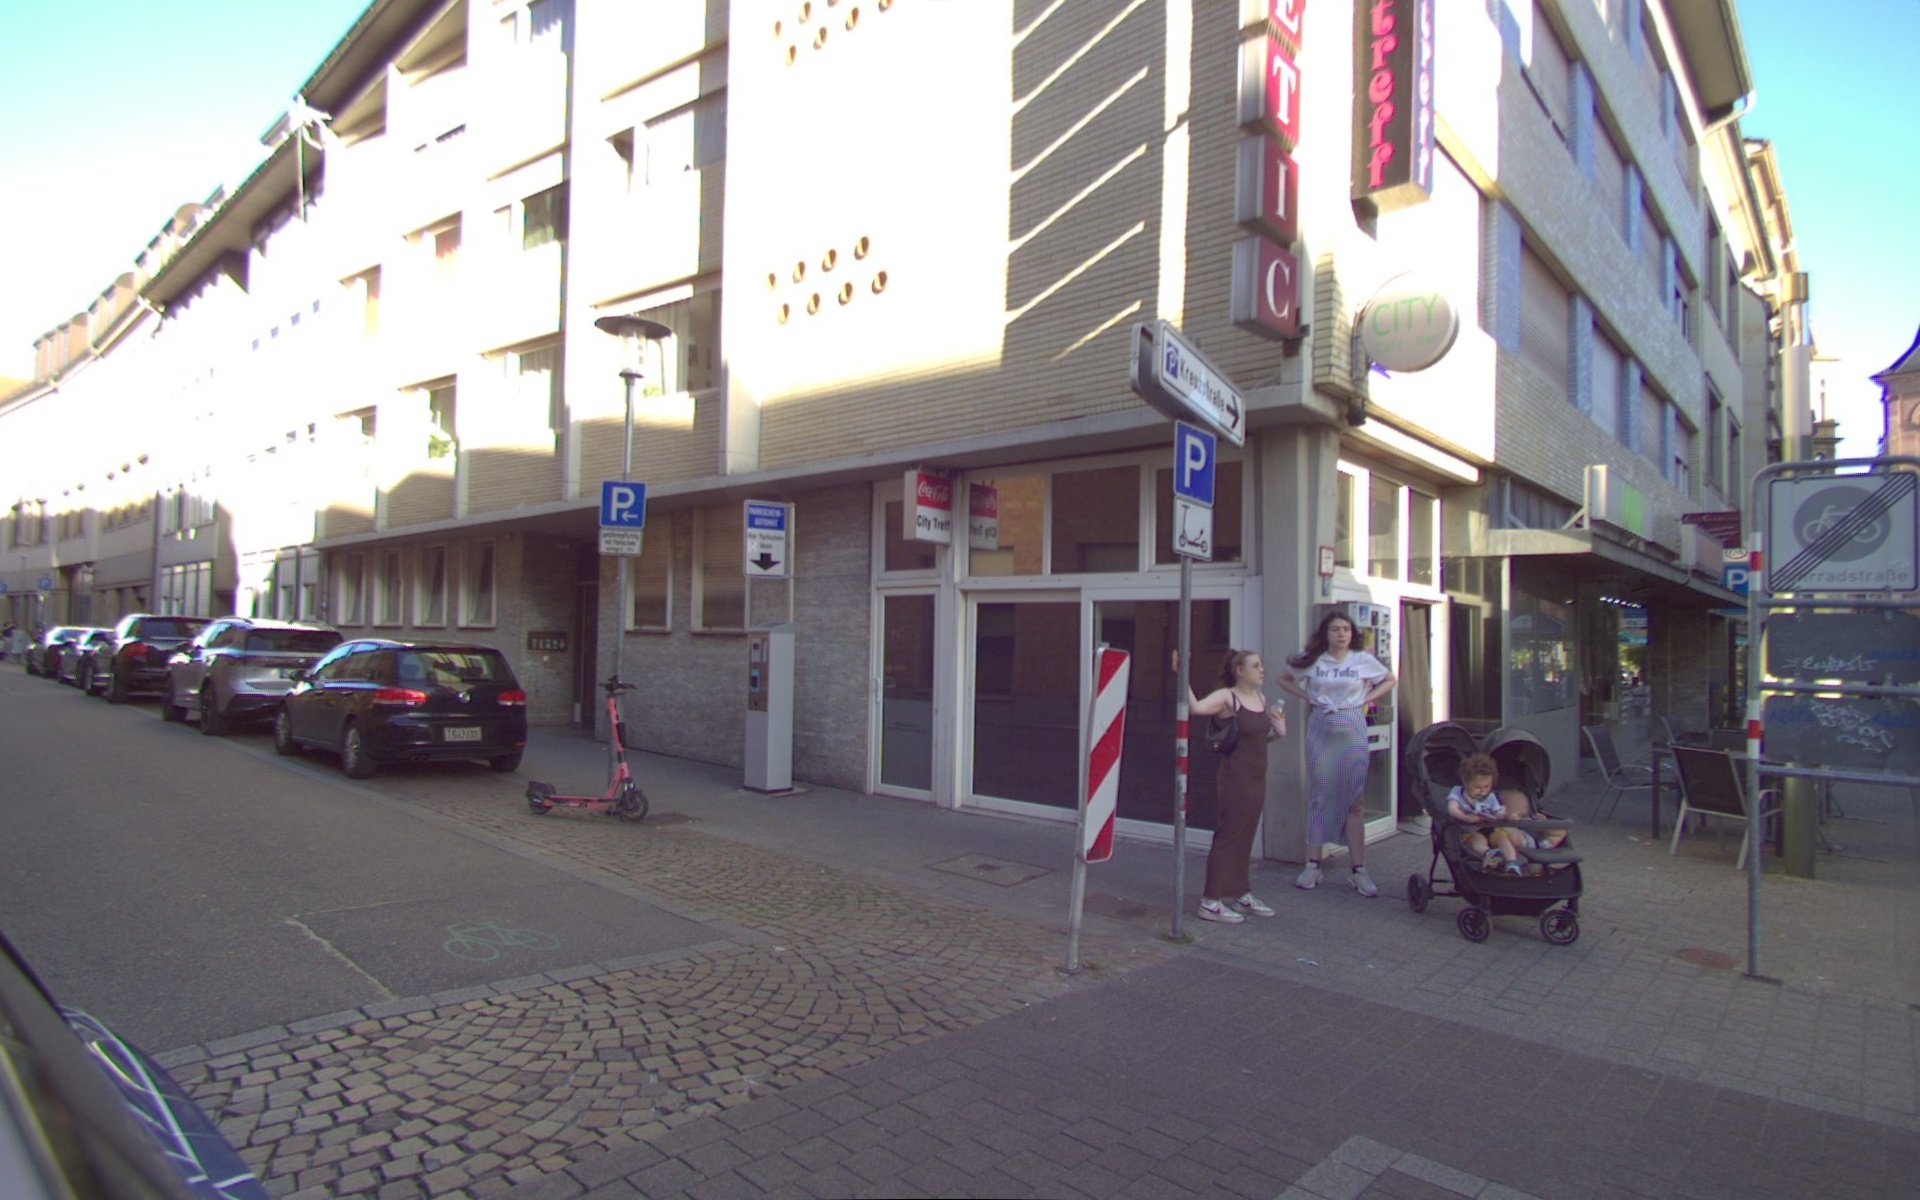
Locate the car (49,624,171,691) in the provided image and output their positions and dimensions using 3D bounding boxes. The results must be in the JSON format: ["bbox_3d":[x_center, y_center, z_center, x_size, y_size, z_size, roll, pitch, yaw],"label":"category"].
[{"bbox_3d":[-20.590,1.377,24.482,3.862,1.472,1.650,-1,-6,42],"label":"car"}]

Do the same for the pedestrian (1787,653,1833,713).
[{"bbox_3d":[20.037,1.939,23.874,0.708,1.378,0.712,0,-3,31],"label":"pedestrian"}]

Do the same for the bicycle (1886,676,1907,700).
[{"bbox_3d":[36.557,3.430,39.484,2.114,0.856,0.458,3,-4,-44],"label":"bicycle"}]

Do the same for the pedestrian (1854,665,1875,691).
[{"bbox_3d":[44.841,3.855,50.167,0.708,1.227,0.704,4,-3,-41],"label":"pedestrian"}]

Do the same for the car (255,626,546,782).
[{"bbox_3d":[-6.547,1.130,11.690,3.810,1.497,1.716,-2,-6,42],"label":"car"}]

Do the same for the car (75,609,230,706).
[{"bbox_3d":[-16.032,1.120,20.027,4.012,1.717,1.650,-1,-6,42],"label":"car"}]

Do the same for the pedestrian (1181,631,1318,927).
[{"bbox_3d":[1.661,0.982,5.842,0.524,1.592,0.512,0,-1,-25],"label":"pedestrian"}]

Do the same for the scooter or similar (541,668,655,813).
[{"bbox_3d":[-3.075,1.185,8.611,0.870,1.193,0.208,1,-3,3],"label":"scooter or similar"}]

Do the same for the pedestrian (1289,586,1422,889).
[{"bbox_3d":[2.510,0.844,6.484,0.652,1.833,0.569,-1,-1,10],"label":"pedestrian"}]

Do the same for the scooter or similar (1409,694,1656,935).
[{"bbox_3d":[3.138,1.137,5.641,0.787,1.152,0.955,1,-2,-5],"label":"scooter or similar"}]

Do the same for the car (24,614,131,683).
[{"bbox_3d":[-24.432,1.332,27.964,4.012,1.717,1.650,-1,-6,42],"label":"car"}]

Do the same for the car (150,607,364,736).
[{"bbox_3d":[-10.625,1.037,15.187,4.080,1.674,1.650,-1,-6,42],"label":"car"}]

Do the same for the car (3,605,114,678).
[{"bbox_3d":[-27.510,1.264,30.858,3.999,2.029,1.972,-1,-6,42],"label":"car"}]
